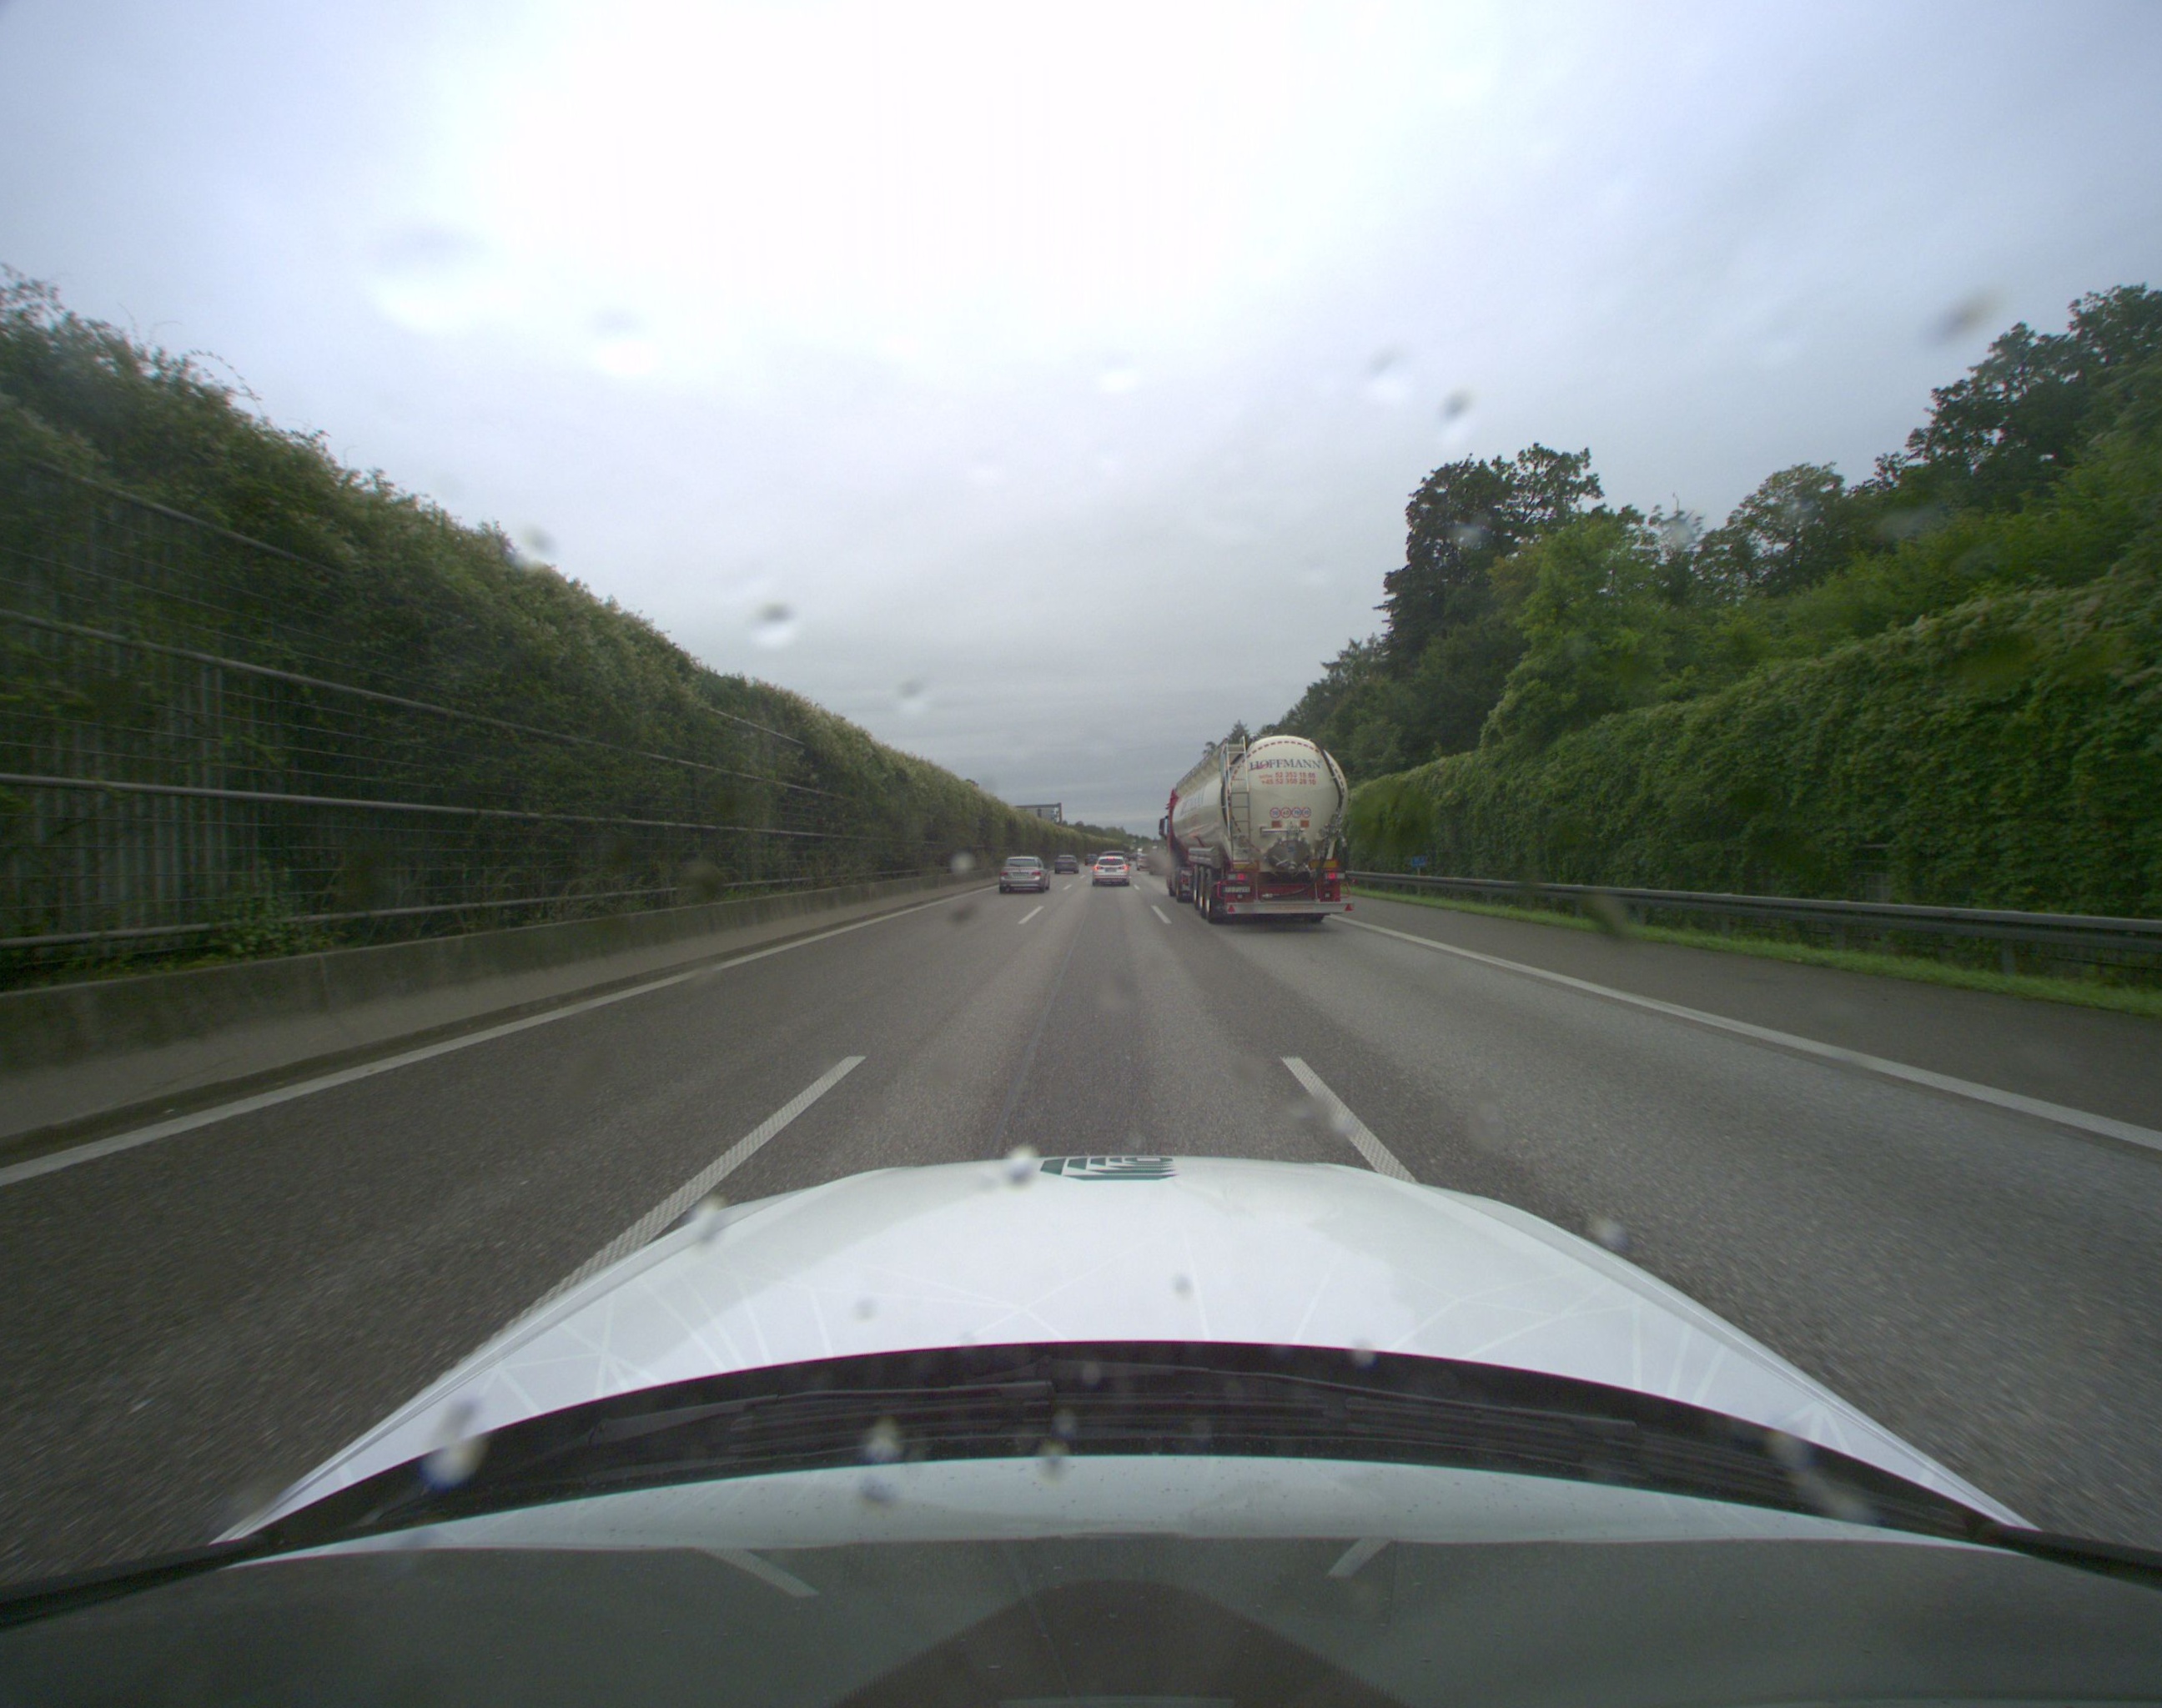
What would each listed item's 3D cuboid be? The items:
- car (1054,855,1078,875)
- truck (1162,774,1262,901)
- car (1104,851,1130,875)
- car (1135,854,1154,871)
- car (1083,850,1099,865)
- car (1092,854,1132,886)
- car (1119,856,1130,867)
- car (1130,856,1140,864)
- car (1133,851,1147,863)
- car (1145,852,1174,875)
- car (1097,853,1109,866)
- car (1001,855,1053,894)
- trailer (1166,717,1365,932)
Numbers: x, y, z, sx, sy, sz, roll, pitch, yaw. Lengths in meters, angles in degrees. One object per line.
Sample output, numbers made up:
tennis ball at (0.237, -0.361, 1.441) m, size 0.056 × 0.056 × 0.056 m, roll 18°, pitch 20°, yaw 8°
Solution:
car at (-1.156, 0.844, 65.489) m, size 1.713 × 1.512 × 5.032 m, roll -1°, pitch 0°, yaw 2°
truck at (4.352, -0.486, 28.382) m, size 2.684 × 3.912 × 6.560 m, roll 0°, pitch -1°, yaw 3°
car at (2.583, 0.608, 59.428) m, size 1.683 × 1.506 × 3.872 m, roll 3°, pitch 1°, yaw 0°
car at (6.022, 0.806, 77.136) m, size 1.682 × 1.506 × 3.874 m, roll -1°, pitch 0°, yaw 3°
car at (1.332, 0.442, 107.783) m, size 1.986 × 2.013 × 3.843 m, roll -1°, pitch 0°, yaw 2°
car at (1.548, 0.759, 41.321) m, size 1.884 × 1.504 × 5.032 m, roll -1°, pitch 0°, yaw 2°
car at (6.838, 1.159, 127.925) m, size 1.782 × 1.779 × 3.874 m, roll -1°, pitch 0°, yaw 3°
car at (10.241, 1.158, 154.198) m, size 1.682 × 1.539 × 3.874 m, roll -1°, pitch 0°, yaw 3°
car at (7.495, 0.403, 104.284) m, size 1.682 × 1.506 × 3.874 m, roll 0°, pitch 0°, yaw 3°
car at (5.891, 0.686, 61.417) m, size 1.809 × 1.625 × 5.032 m, roll -1°, pitch 0°, yaw 2°
car at (3.819, 0.931, 139.092) m, size 1.986 × 2.013 × 4.002 m, roll -1°, pitch 0°, yaw 2°
car at (-2.190, 0.795, 34.245) m, size 1.713 × 1.469 × 5.032 m, roll 0°, pitch 0°, yaw 2°
trailer at (4.081, -0.493, 21.564) m, size 2.658 × 3.939 × 13.135 m, roll 0°, pitch 0°, yaw 2°
